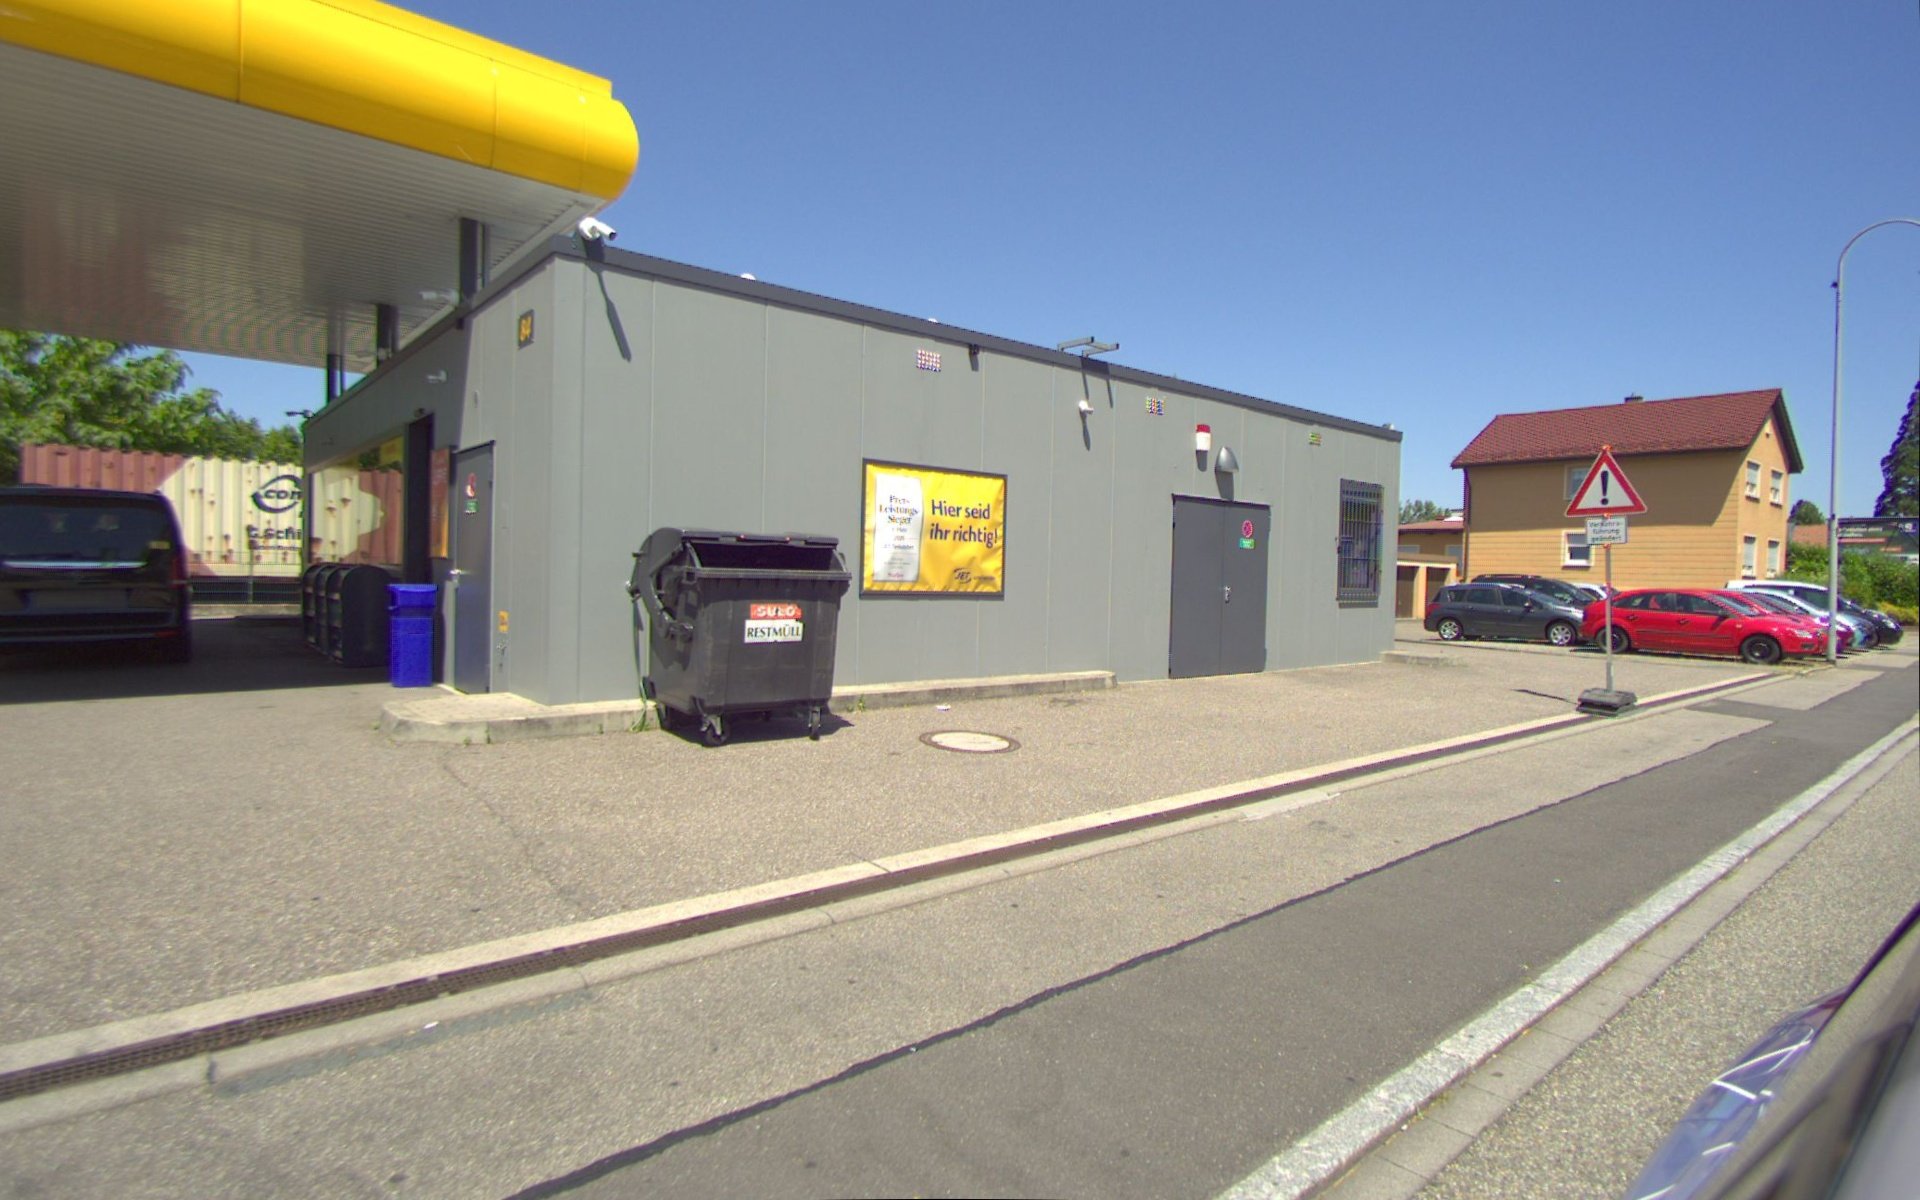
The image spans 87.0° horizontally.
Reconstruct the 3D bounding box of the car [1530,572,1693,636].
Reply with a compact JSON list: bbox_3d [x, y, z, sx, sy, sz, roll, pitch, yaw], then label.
[{"bbox_3d":[20.045,0.161,31.270,1.658,1.862,3.900,0,-2,-40],"label":"car"}]

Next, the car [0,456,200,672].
[{"bbox_3d":[-10.106,-0.394,11.660,1.964,2.000,5.061,0,1,-39],"label":"car"}]

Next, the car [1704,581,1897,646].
[{"bbox_3d":[22.954,0.321,27.733,1.801,1.528,3.800,0,2,-40],"label":"car"}]

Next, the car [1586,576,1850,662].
[{"bbox_3d":[16.214,0.333,21.813,1.924,1.553,4.232,0,2,-42],"label":"car"}]

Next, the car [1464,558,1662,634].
[{"bbox_3d":[16.597,-0.057,28.006,1.939,1.921,4.342,0,-2,-44],"label":"car"}]

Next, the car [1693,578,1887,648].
[{"bbox_3d":[21.472,0.291,26.266,1.614,1.586,3.689,0,2,-43],"label":"car"}]

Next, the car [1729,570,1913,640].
[{"bbox_3d":[26.039,0.101,30.710,4.134,1.962,1.779,2,1,44],"label":"car"}]

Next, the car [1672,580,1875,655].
[{"bbox_3d":[19.849,0.375,24.782,1.721,1.586,3.687,0,2,-45],"label":"car"}]

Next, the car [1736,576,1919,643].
[{"bbox_3d":[24.825,0.216,28.971,1.734,1.701,3.879,0,2,-44],"label":"car"}]

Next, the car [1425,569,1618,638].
[{"bbox_3d":[14.645,0.134,26.557,1.752,1.689,4.044,0,-2,-42],"label":"car"}]

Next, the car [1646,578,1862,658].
[{"bbox_3d":[18.170,0.361,23.260,1.680,1.586,3.688,0,2,-44],"label":"car"}]

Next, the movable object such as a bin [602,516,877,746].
[{"bbox_3d":[-1.633,0.159,7.435,1.442,1.455,1.437,0,3,-41],"label":"movable object such as a bin"}]
